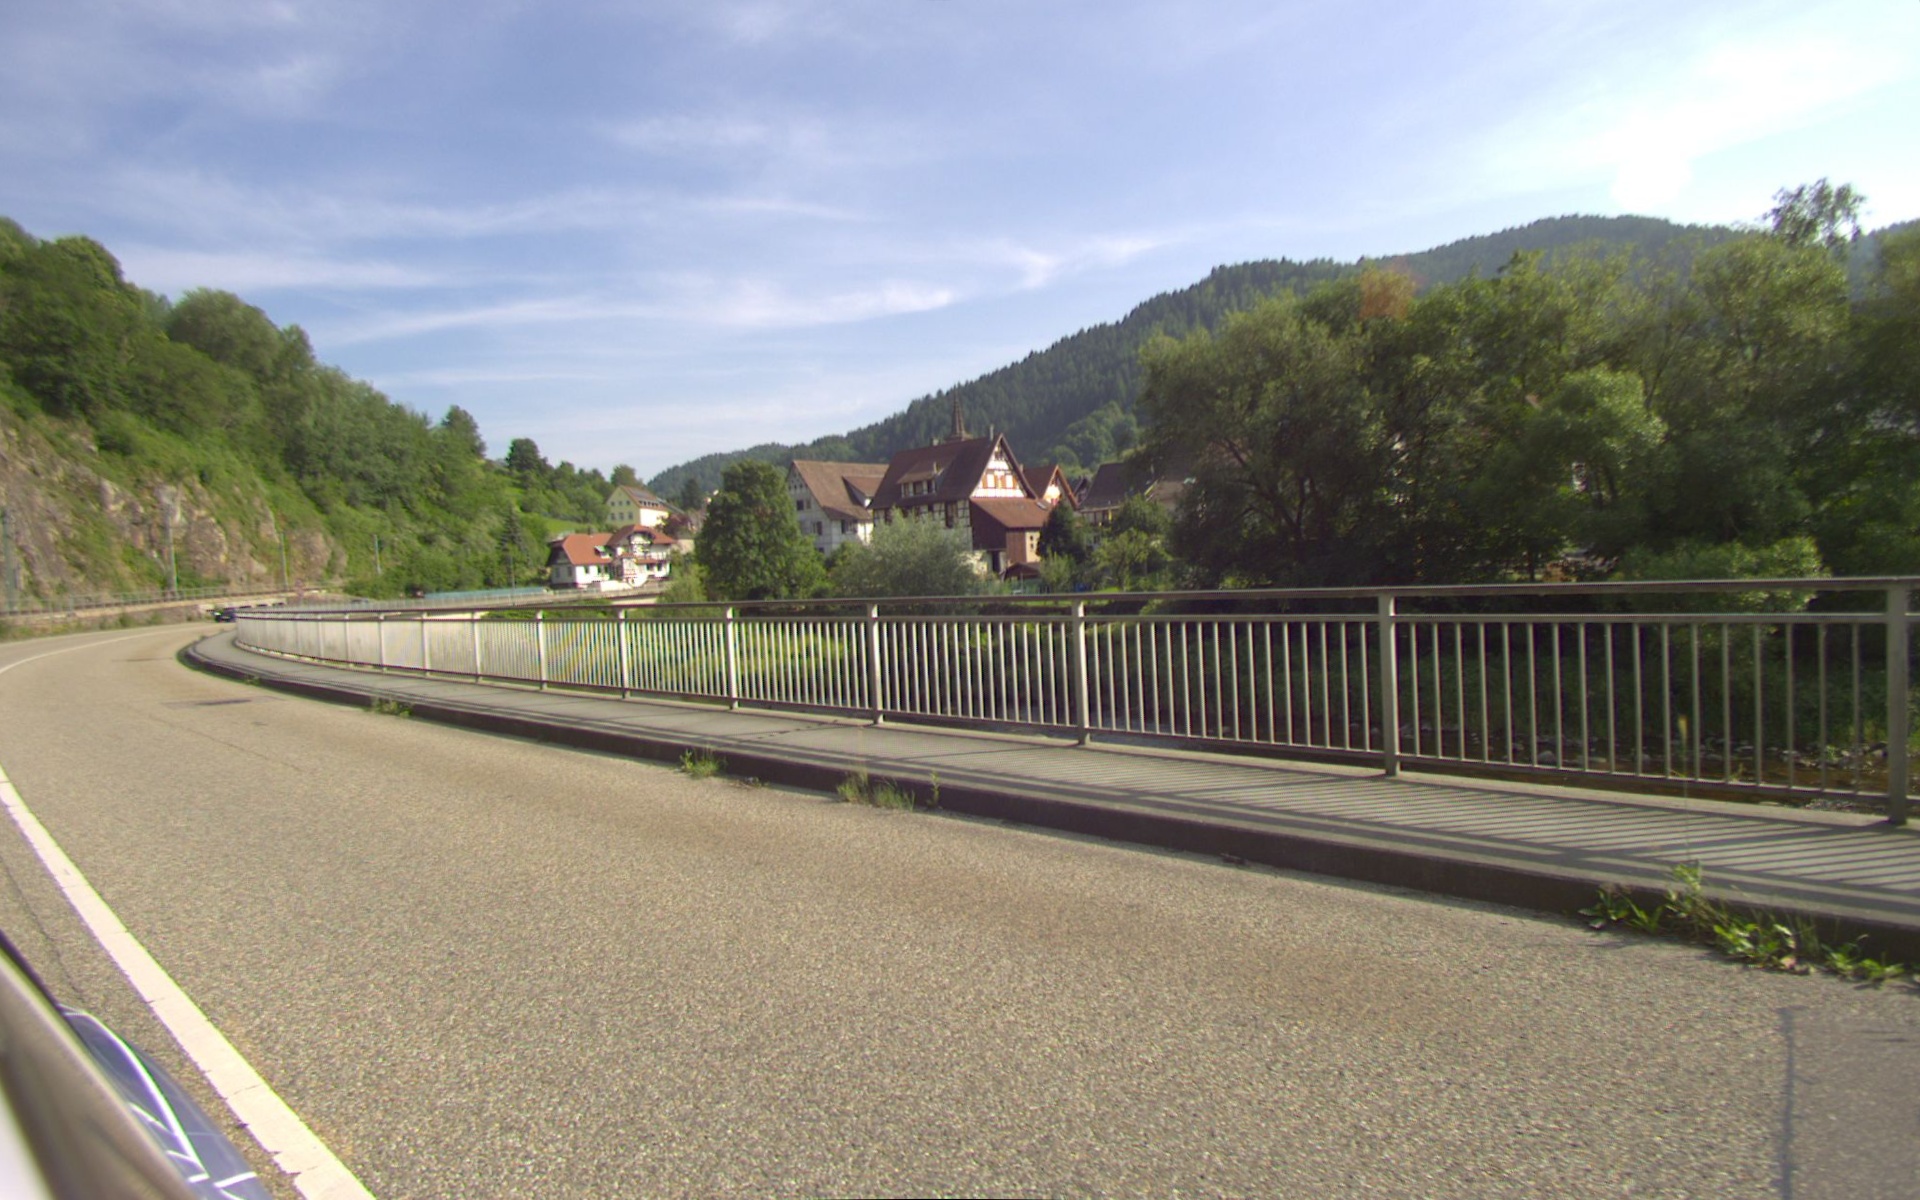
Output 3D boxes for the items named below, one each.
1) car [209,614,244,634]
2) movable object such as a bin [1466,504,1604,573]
[{"bbox_3d":[-62.184,2.056,85.801,1.675,1.533,3.483,2,-4,-25],"label":"car"},{"bbox_3d":[34.319,-3.827,60.883,3.502,3.237,8.168,-3,9,0],"label":"movable object such as a bin"}]
